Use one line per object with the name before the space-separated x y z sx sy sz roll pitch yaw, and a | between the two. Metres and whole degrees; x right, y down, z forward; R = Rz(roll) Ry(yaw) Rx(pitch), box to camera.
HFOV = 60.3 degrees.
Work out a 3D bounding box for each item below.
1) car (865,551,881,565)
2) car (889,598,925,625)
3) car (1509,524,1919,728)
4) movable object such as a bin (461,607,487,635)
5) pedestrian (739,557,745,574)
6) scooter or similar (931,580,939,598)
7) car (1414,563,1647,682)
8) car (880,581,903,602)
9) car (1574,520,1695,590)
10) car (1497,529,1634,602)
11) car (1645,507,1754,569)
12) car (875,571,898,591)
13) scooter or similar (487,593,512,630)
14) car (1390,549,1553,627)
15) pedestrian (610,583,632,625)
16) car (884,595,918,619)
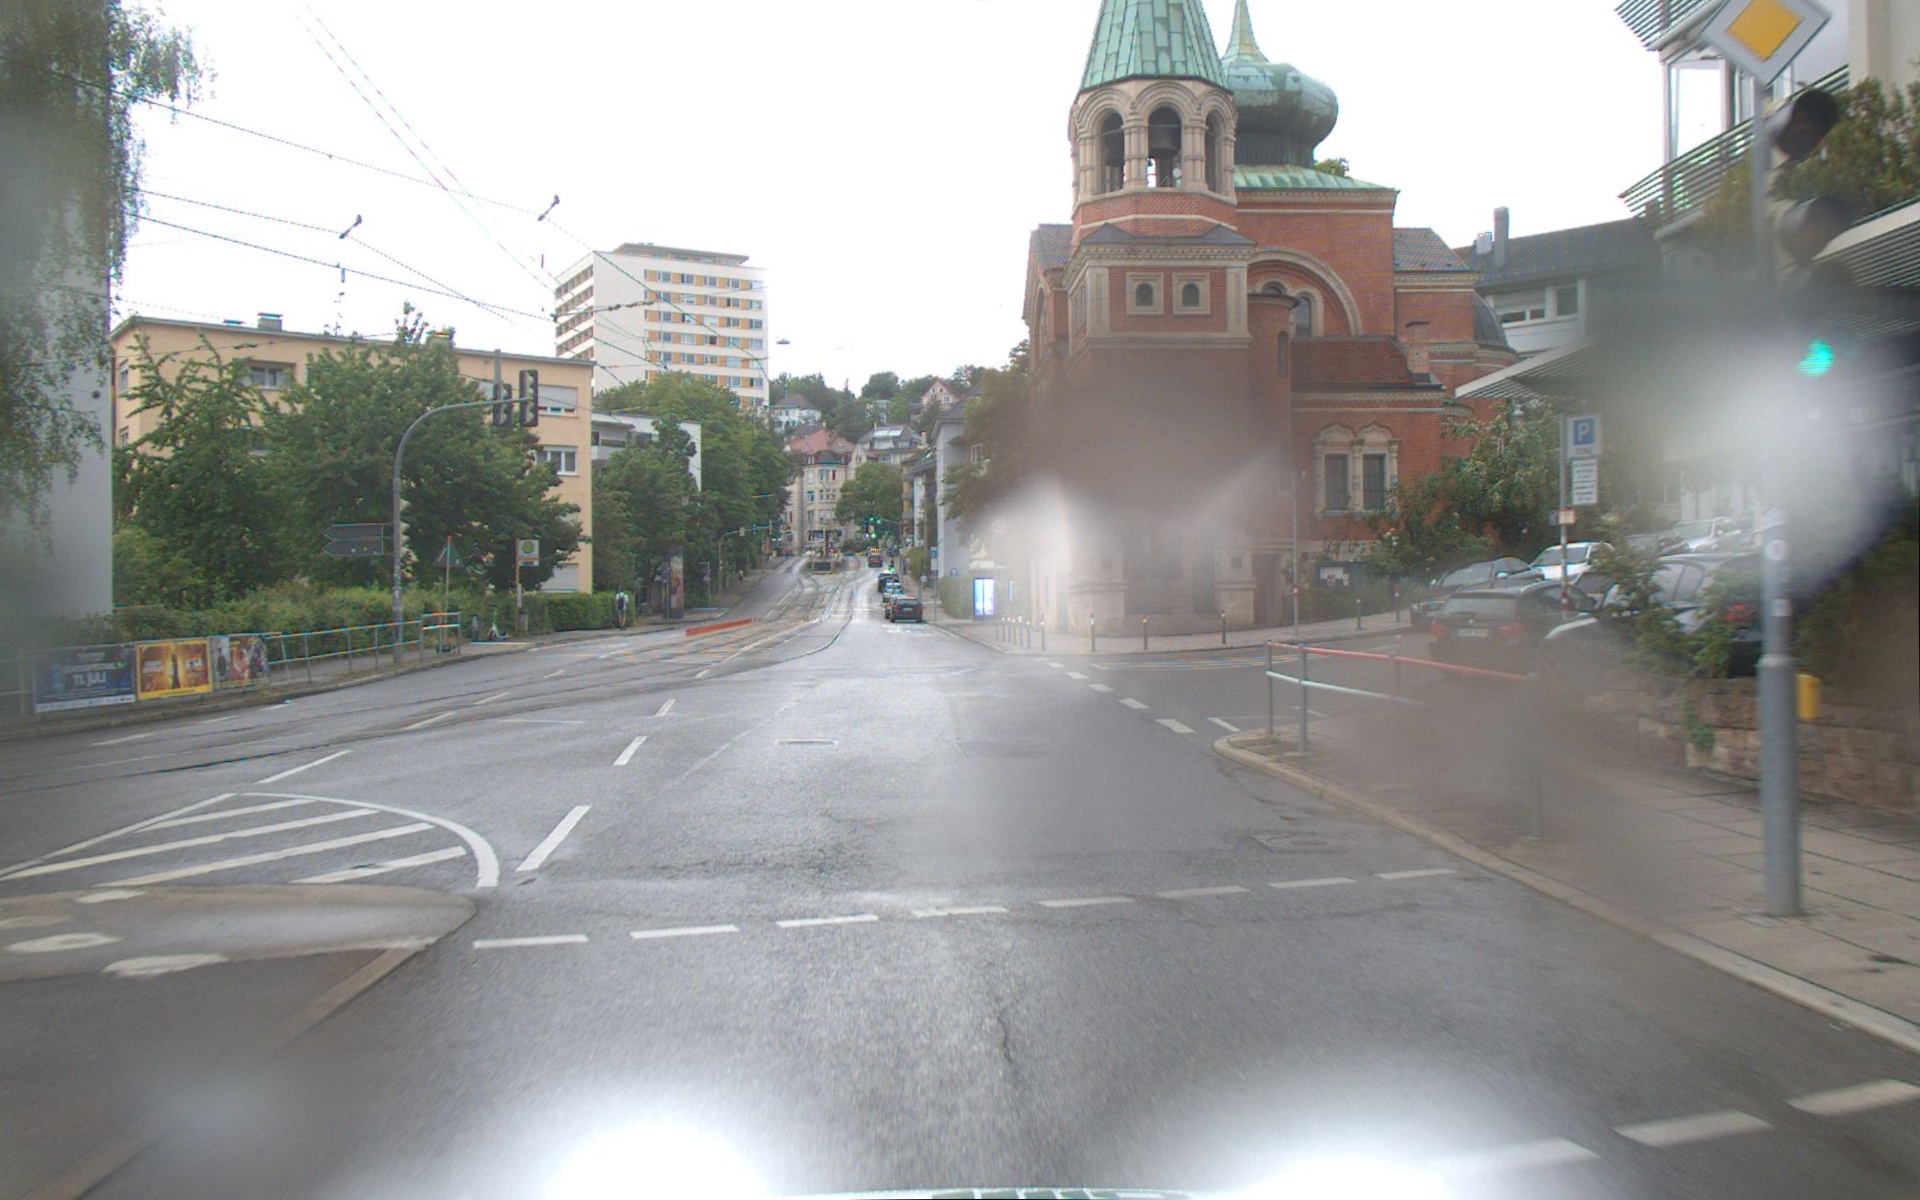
car | -11.192 -5.347 212.059 1.767 1.674 3.995 0 0 -6
car | -3.059 0.624 95.181 1.821 1.513 4.640 0 0 -5
car | 6.922 0.263 15.509 1.817 1.529 4.446 -3 -1 -3
movable object such as a bin | -15.650 0.691 53.261 0.674 0.897 0.759 0 -2 -9
pedestrian | -21.584 -3.407 163.791 0.572 1.628 0.868 2 1 -7
scooter or similar | -2.034 -0.885 132.423 0.563 1.270 1.611 0 4 2
car | 8.980 0.281 25.811 1.965 1.482 4.426 0 4 40
car | -5.494 -0.682 131.518 1.671 1.458 4.099 1 2 -4
car | 18.945 -1.275 46.395 1.908 1.467 3.611 -7 1 42
car | 15.642 -0.906 42.642 1.912 1.520 3.907 -4 2 42
car | 22.704 -1.916 50.713 1.908 1.540 3.824 -2 4 42
car | -6.574 -1.720 147.891 1.869 1.670 4.686 1 2 -4
scooter or similar | -15.363 0.398 55.200 0.561 1.205 1.597 0 -1 -7
car | 12.101 -0.303 38.953 1.908 1.391 4.454 -4 2 42
pedestrian | -15.488 0.195 75.573 0.901 1.878 1.015 1 -1 -8
car | -3.823 0.431 106.460 1.902 1.489 4.201 0 0 -5
